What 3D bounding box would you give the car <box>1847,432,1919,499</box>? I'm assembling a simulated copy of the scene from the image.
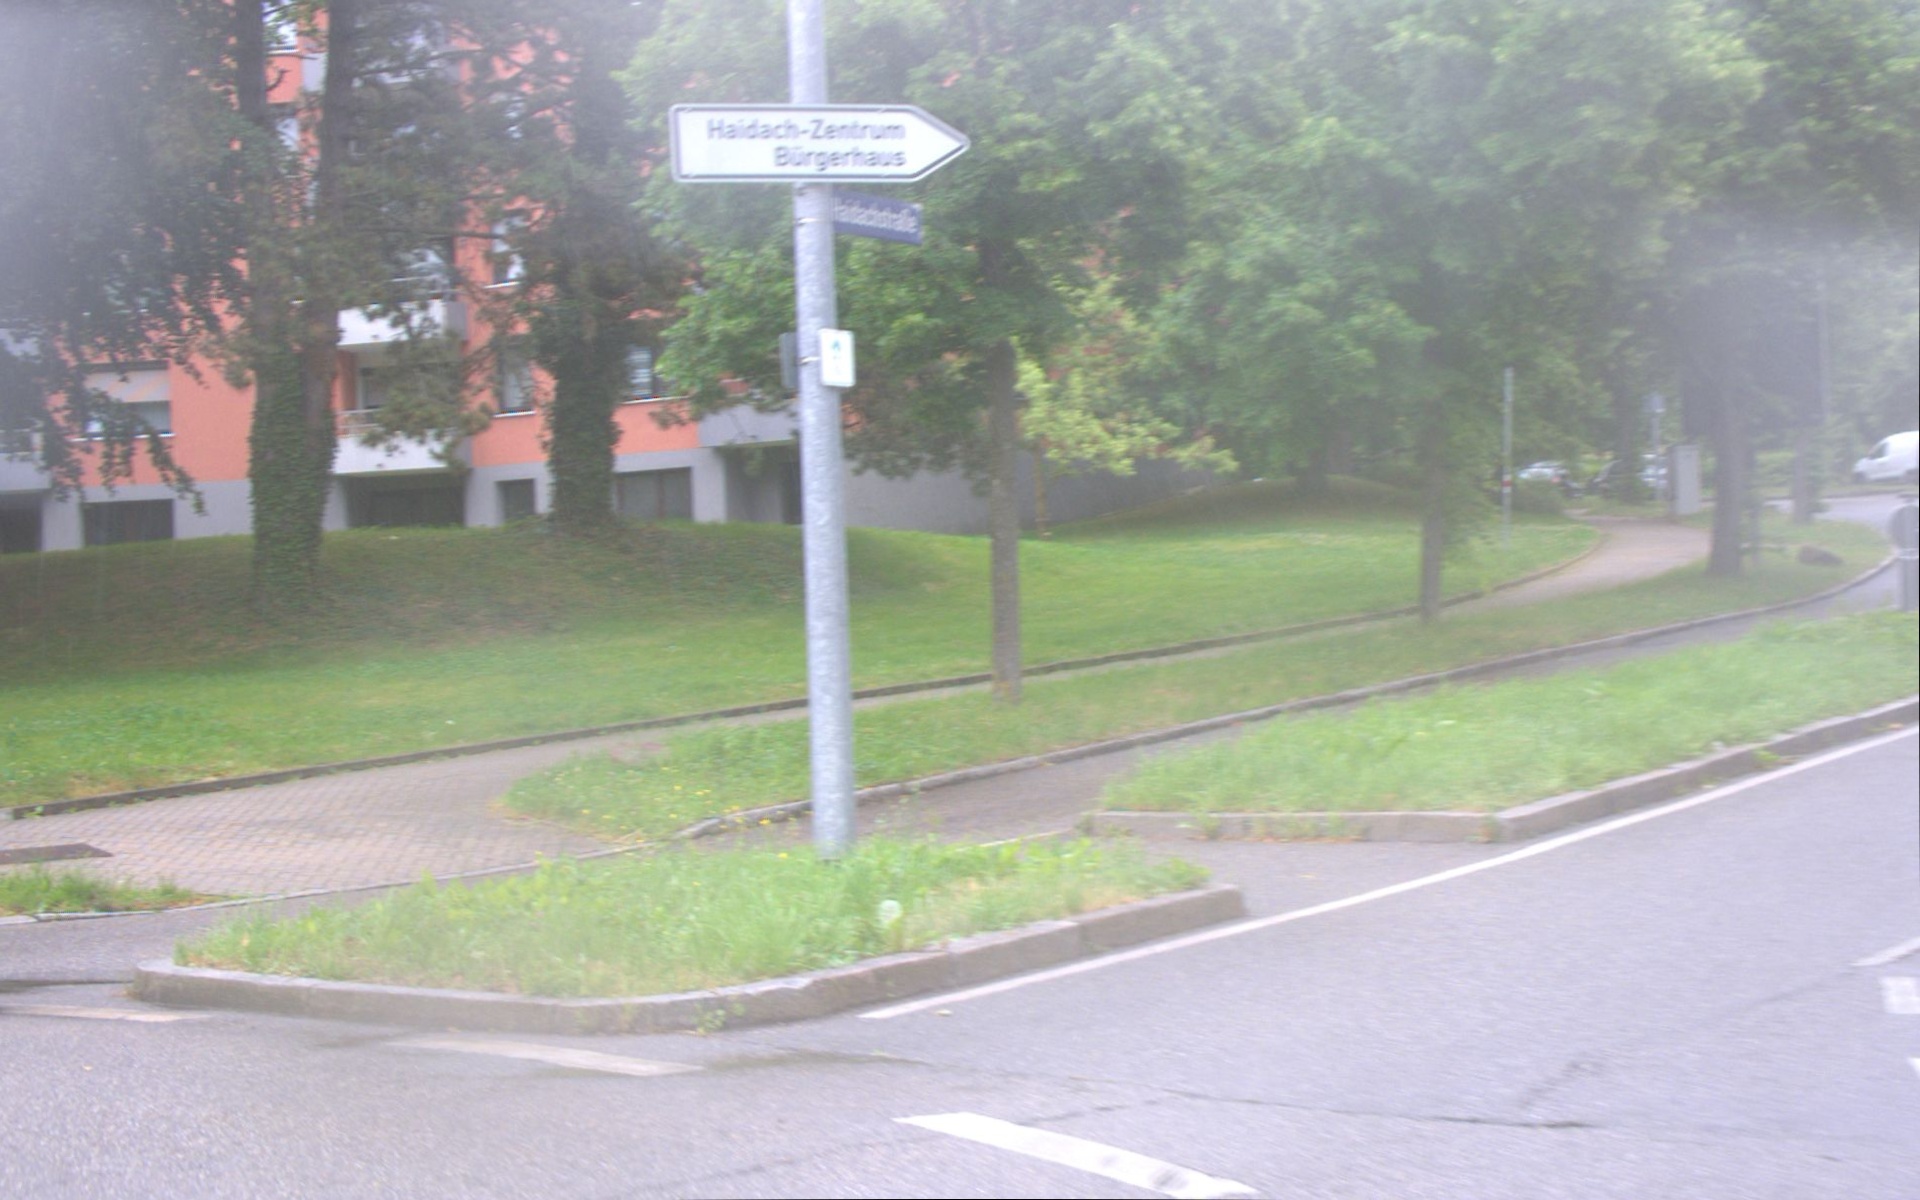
[{"bbox_3d":[29.064,-4.137,105.787,1.993,1.867,4.001,-2,0,-7],"label":"car"}]
